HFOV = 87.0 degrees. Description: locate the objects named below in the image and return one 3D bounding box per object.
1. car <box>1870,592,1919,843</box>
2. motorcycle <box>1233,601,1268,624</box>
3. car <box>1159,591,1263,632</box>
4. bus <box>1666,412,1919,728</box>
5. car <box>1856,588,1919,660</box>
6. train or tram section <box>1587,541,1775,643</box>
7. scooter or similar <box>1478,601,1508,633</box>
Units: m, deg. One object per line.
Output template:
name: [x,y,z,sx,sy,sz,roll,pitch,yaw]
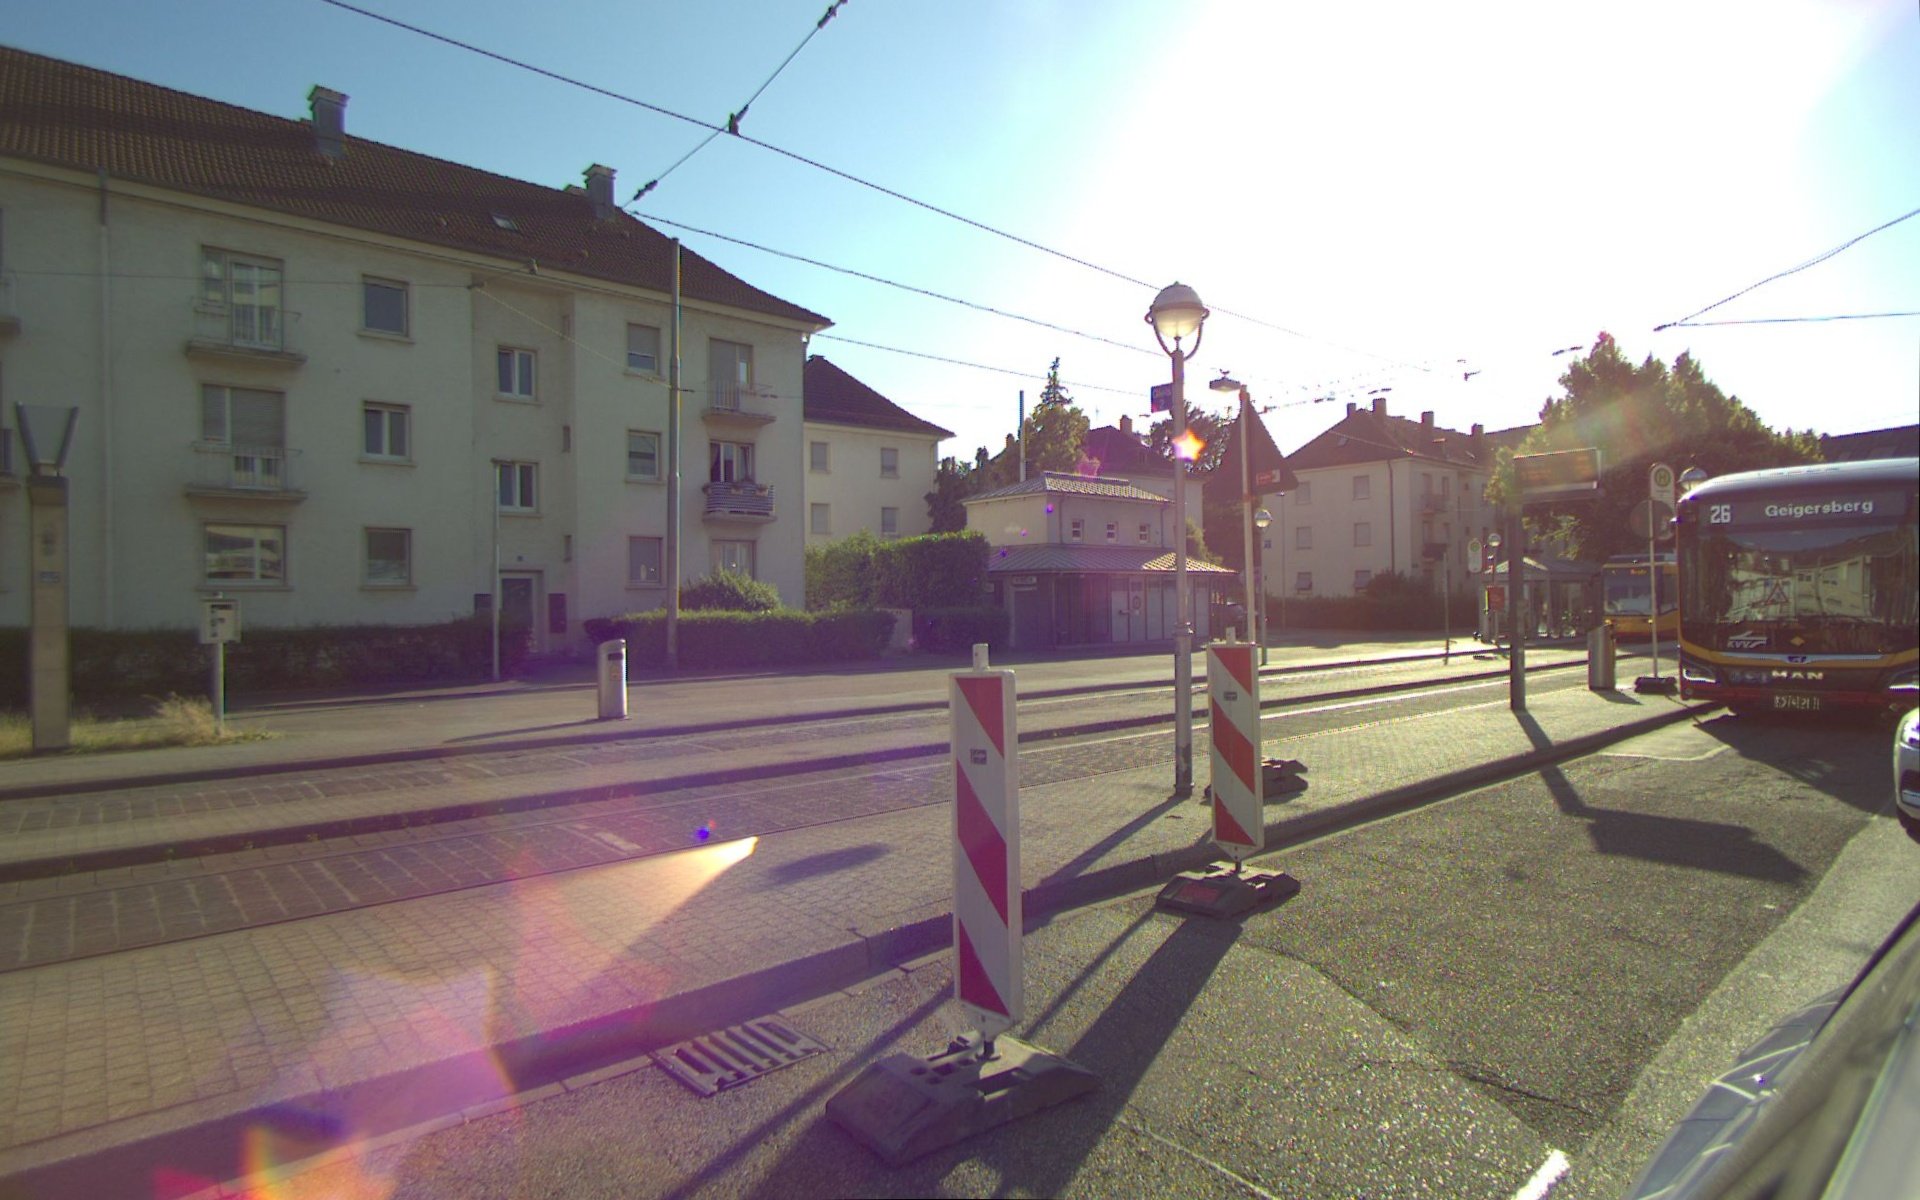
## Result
car: [7.876,0.679,6.704,4.367,1.481,1.998,0,0,-38]
motorcycle: [15.774,0.675,54.986,0.549,1.177,1.823,0,0,-43]
car: [11.578,0.480,46.841,1.963,1.791,4.451,-1,1,-37]
bus: [14.288,-0.355,15.779,11.810,3.460,2.692,0,0,-42]
car: [24.157,0.568,25.407,3.930,1.695,1.997,0,0,-41]
train or tram section: [30.057,-0.514,41.647,15.698,3.578,2.961,-2,2,-42]
scooter or similar: [20.707,0.645,39.292,1.185,1.223,0.468,-1,0,-30]
